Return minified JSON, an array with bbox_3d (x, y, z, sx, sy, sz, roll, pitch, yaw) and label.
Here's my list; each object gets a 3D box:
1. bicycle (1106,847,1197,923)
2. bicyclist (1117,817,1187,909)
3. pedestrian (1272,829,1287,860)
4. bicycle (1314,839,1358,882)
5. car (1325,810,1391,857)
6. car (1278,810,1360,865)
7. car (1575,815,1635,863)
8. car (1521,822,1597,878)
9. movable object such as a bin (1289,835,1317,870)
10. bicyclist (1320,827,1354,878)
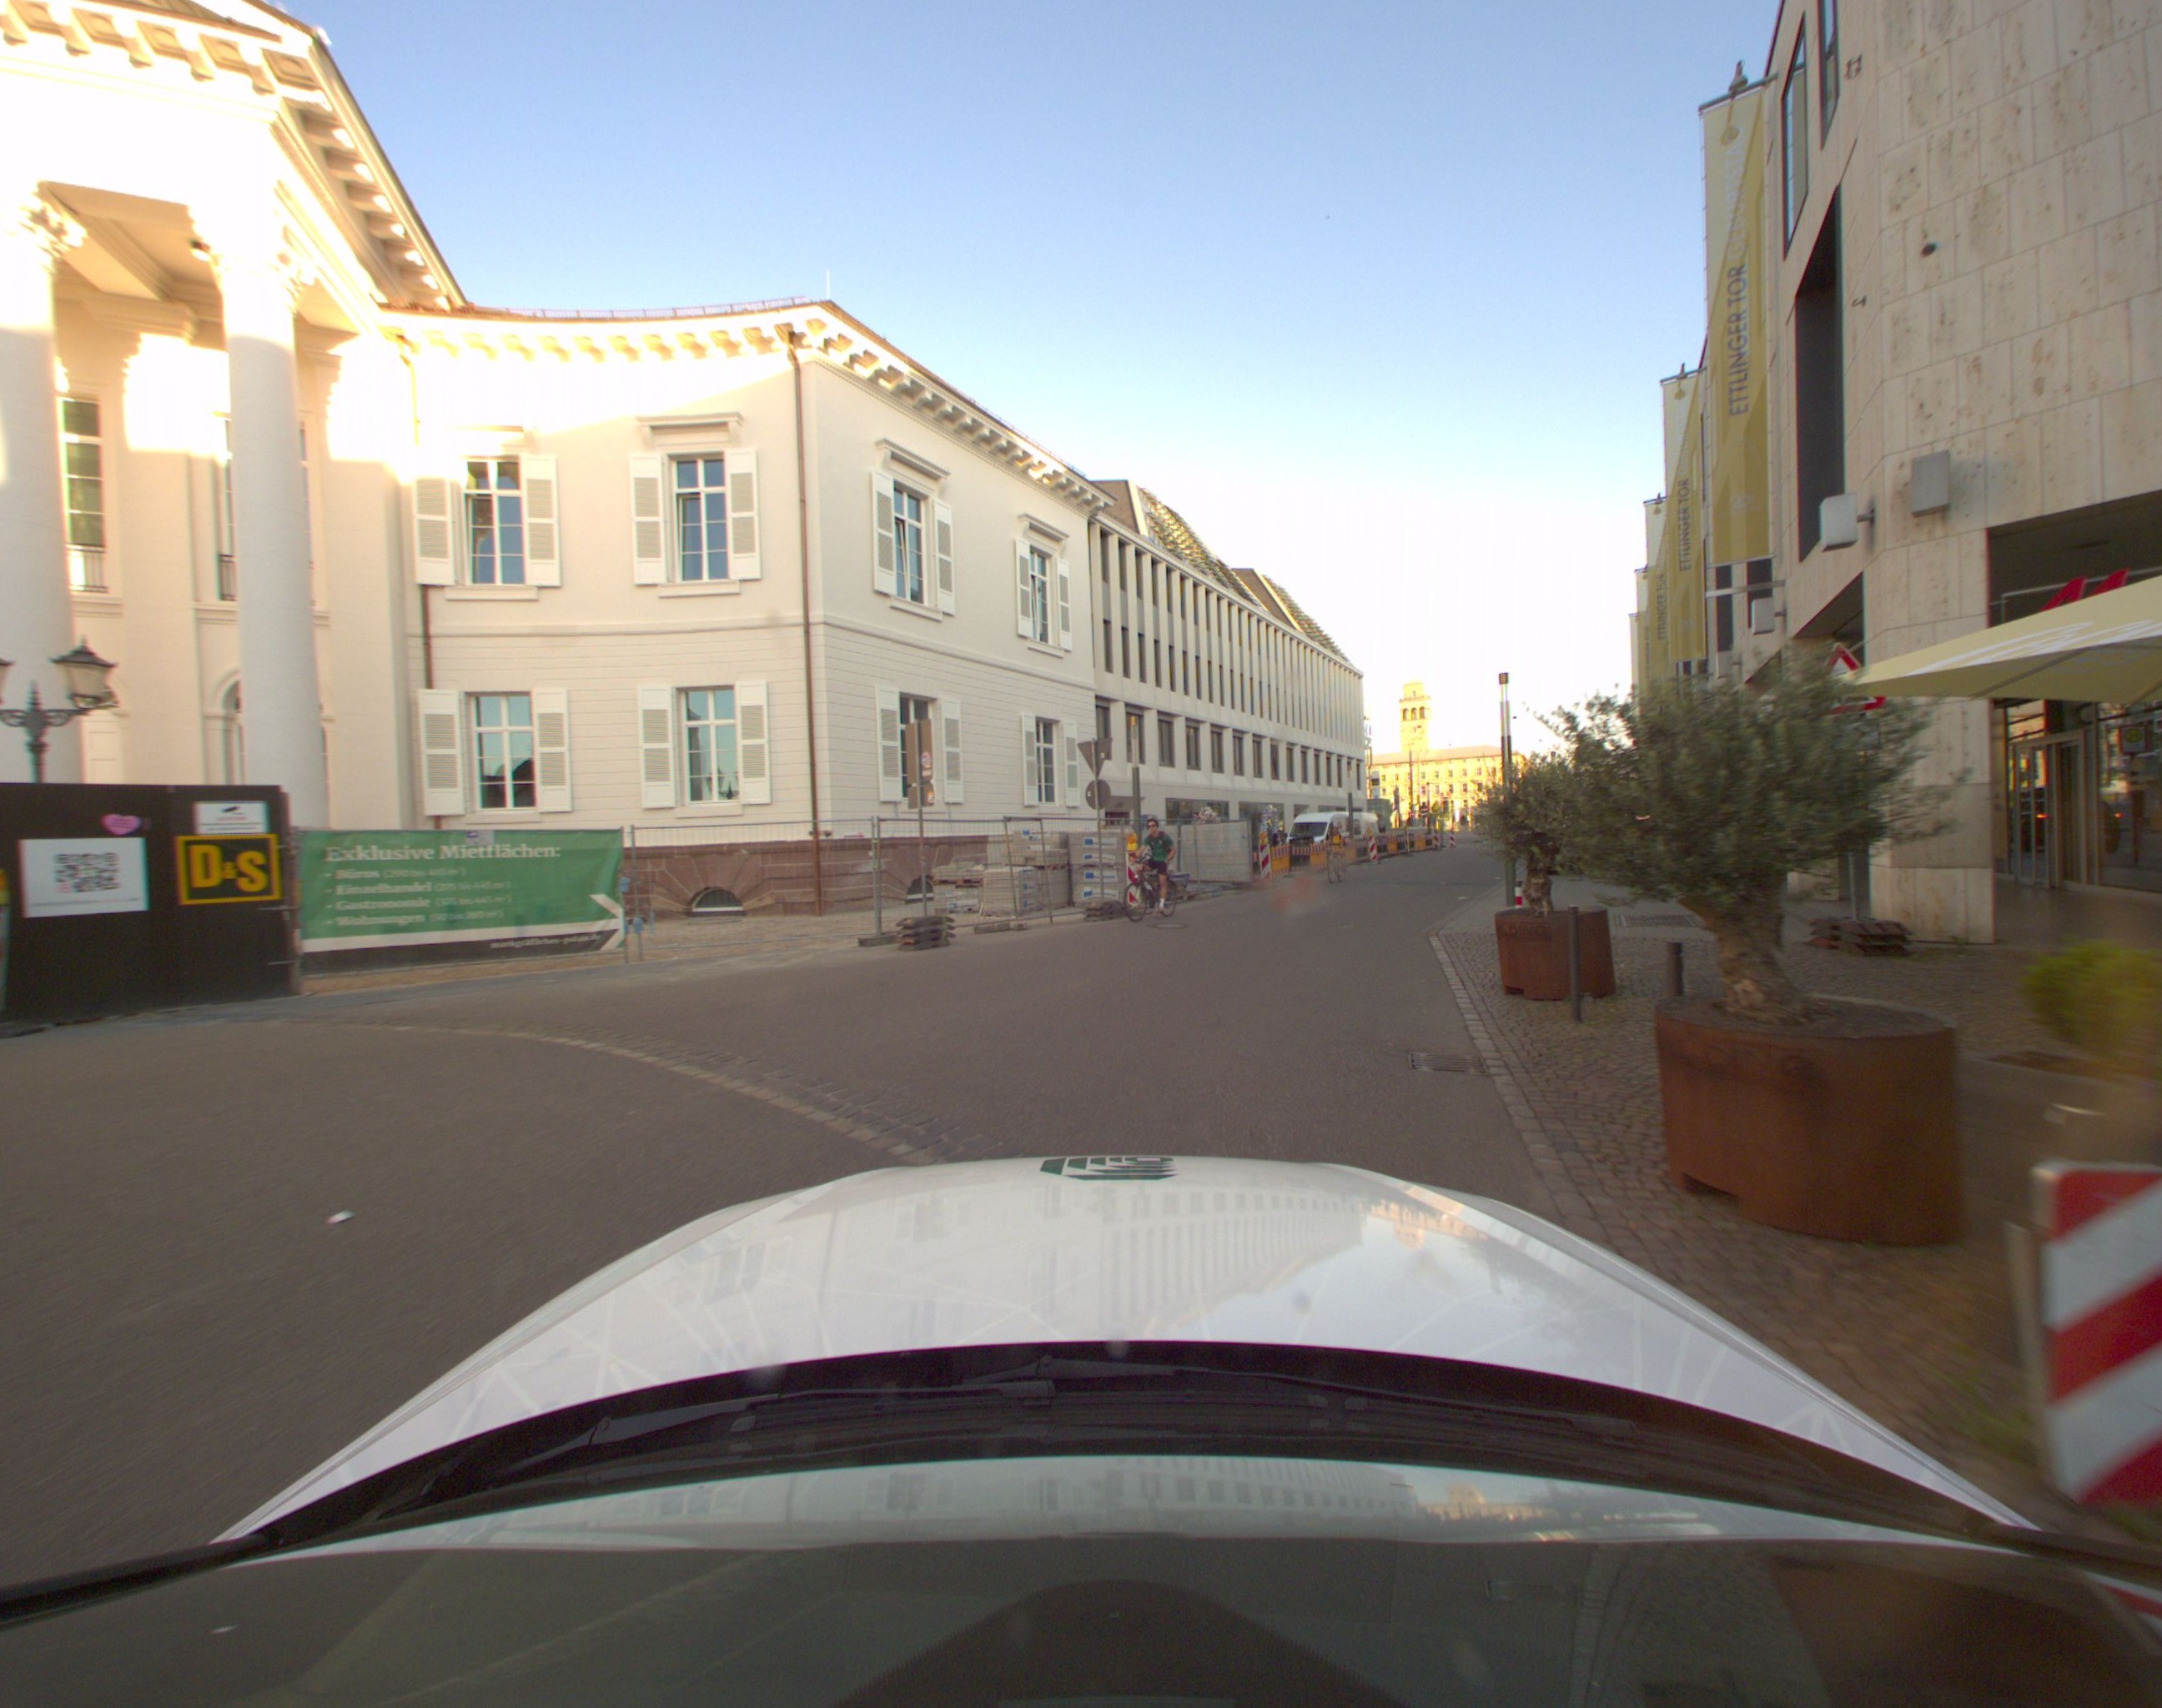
[{"bbox_3d":[1.326,0.528,14.884,0.789,1.217,2.247,-2,1,28],"label":"bicycle"},{"bbox_3d":[1.314,0.138,14.882,0.789,1.602,1.238,-2,1,28],"label":"bicyclist"},{"bbox_3d":[10.212,-0.487,41.930,0.537,1.577,0.583,-2,1,30],"label":"pedestrian"},{"bbox_3d":[7.858,0.166,25.043,0.788,1.217,2.247,-2,1,30],"label":"bicycle"},{"bbox_3d":[15.824,-1.178,46.260,2.152,2.470,6.038,-1,1,32],"label":"car"},{"bbox_3d":[11.780,-0.828,39.950,2.152,2.470,6.038,-1,1,33],"label":"car"},{"bbox_3d":[20.541,-0.620,31.934,1.751,1.638,4.084,-5,-1,33],"label":"car"},{"bbox_3d":[15.004,-0.185,25.464,1.777,1.490,4.220,-5,-1,33],"label":"car"},{"bbox_3d":[9.898,-0.079,36.264,1.034,1.466,1.401,-1,1,21],"label":"movable object such as a bin"},{"bbox_3d":[7.882,-0.046,25.058,0.788,1.532,0.980,-2,1,30],"label":"bicyclist"}]
